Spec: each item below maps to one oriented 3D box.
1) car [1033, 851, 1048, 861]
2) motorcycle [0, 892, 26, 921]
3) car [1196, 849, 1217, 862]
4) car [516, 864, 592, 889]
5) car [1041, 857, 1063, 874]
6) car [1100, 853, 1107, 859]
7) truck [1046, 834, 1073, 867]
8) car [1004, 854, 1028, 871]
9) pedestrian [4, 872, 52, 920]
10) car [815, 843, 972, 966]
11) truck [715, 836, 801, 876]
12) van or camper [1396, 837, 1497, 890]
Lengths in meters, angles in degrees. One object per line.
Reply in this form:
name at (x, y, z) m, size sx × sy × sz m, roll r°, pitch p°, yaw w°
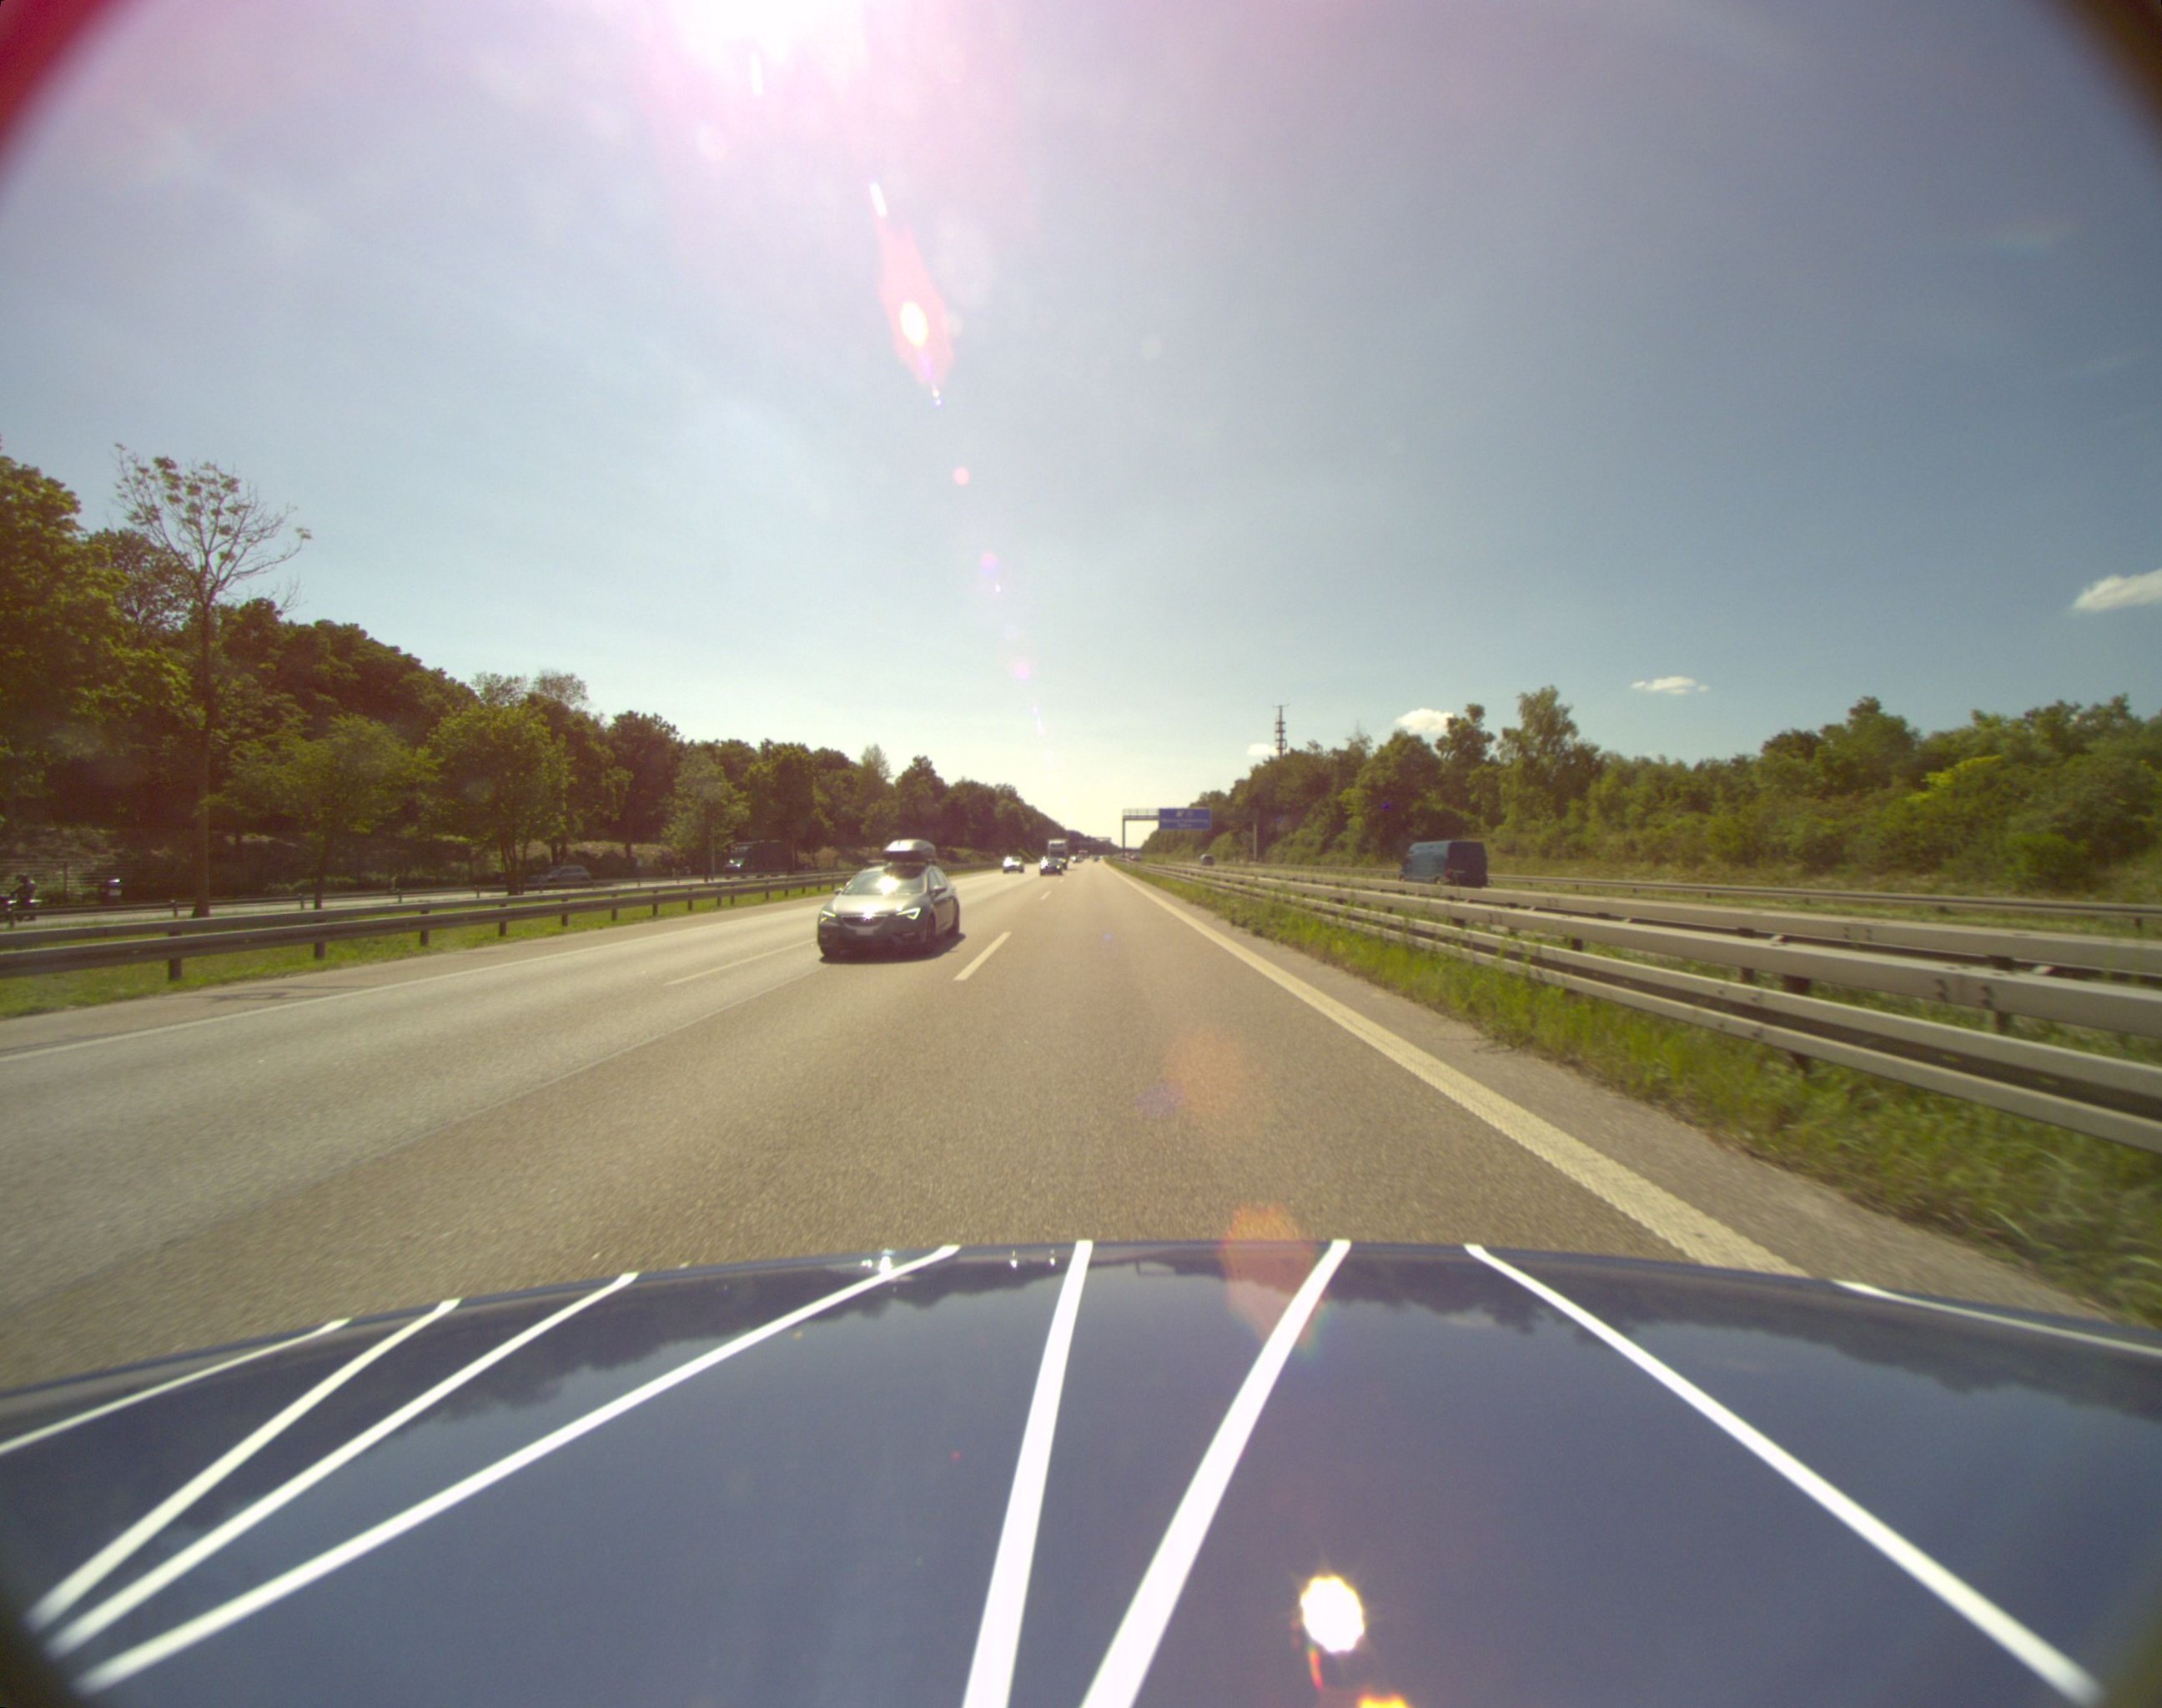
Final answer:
car at (-6.973, 0.355, 131.268) m, size 1.924 × 1.659 × 4.687 m, roll -2°, pitch 0°, yaw 4°
motorcycle at (-40.745, 1.988, 28.247) m, size 0.559 × 1.024 × 1.673 m, roll -1°, pitch 0°, yaw 7°
car at (18.303, 0.161, 111.106) m, size 1.999 × 1.824 × 5.332 m, roll 1°, pitch 1°, yaw -1°
car at (-37.478, 1.570, 54.183) m, size 1.997 × 1.641 × 4.321 m, roll -1°, pitch 0°, yaw 10°
car at (-2.373, 0.924, 62.584) m, size 1.537 × 1.265 × 2.770 m, roll -1°, pitch 0°, yaw 2°
car at (5.294, 0.414, 179.666) m, size 1.591 × 1.291 × 3.383 m, roll 0°, pitch 0°, yaw 2°
truck at (-2.426, -0.365, 87.594) m, size 2.676 × 3.661 × 6.484 m, roll -1°, pitch 0°, yaw 2°
car at (-6.447, 0.798, 75.937) m, size 1.847 × 1.559 × 4.036 m, roll -2°, pitch 0°, yaw 2°
pedestrian at (-40.033, 1.582, 28.884) m, size 0.801 × 1.772 × 0.642 m, roll -1°, pitch 1°, yaw -12°
car at (-3.218, 0.766, 14.022) m, size 1.669 × 1.865 × 4.827 m, roll 0°, pitch 0°, yaw 0°
truck at (-32.943, 0.182, 78.168) m, size 3.290 × 3.924 × 9.359 m, roll 0°, pitch 0°, yaw 12°
van or camper at (17.767, 0.400, 37.328) m, size 1.998 × 2.378 × 6.241 m, roll 0°, pitch 0°, yaw 1°
